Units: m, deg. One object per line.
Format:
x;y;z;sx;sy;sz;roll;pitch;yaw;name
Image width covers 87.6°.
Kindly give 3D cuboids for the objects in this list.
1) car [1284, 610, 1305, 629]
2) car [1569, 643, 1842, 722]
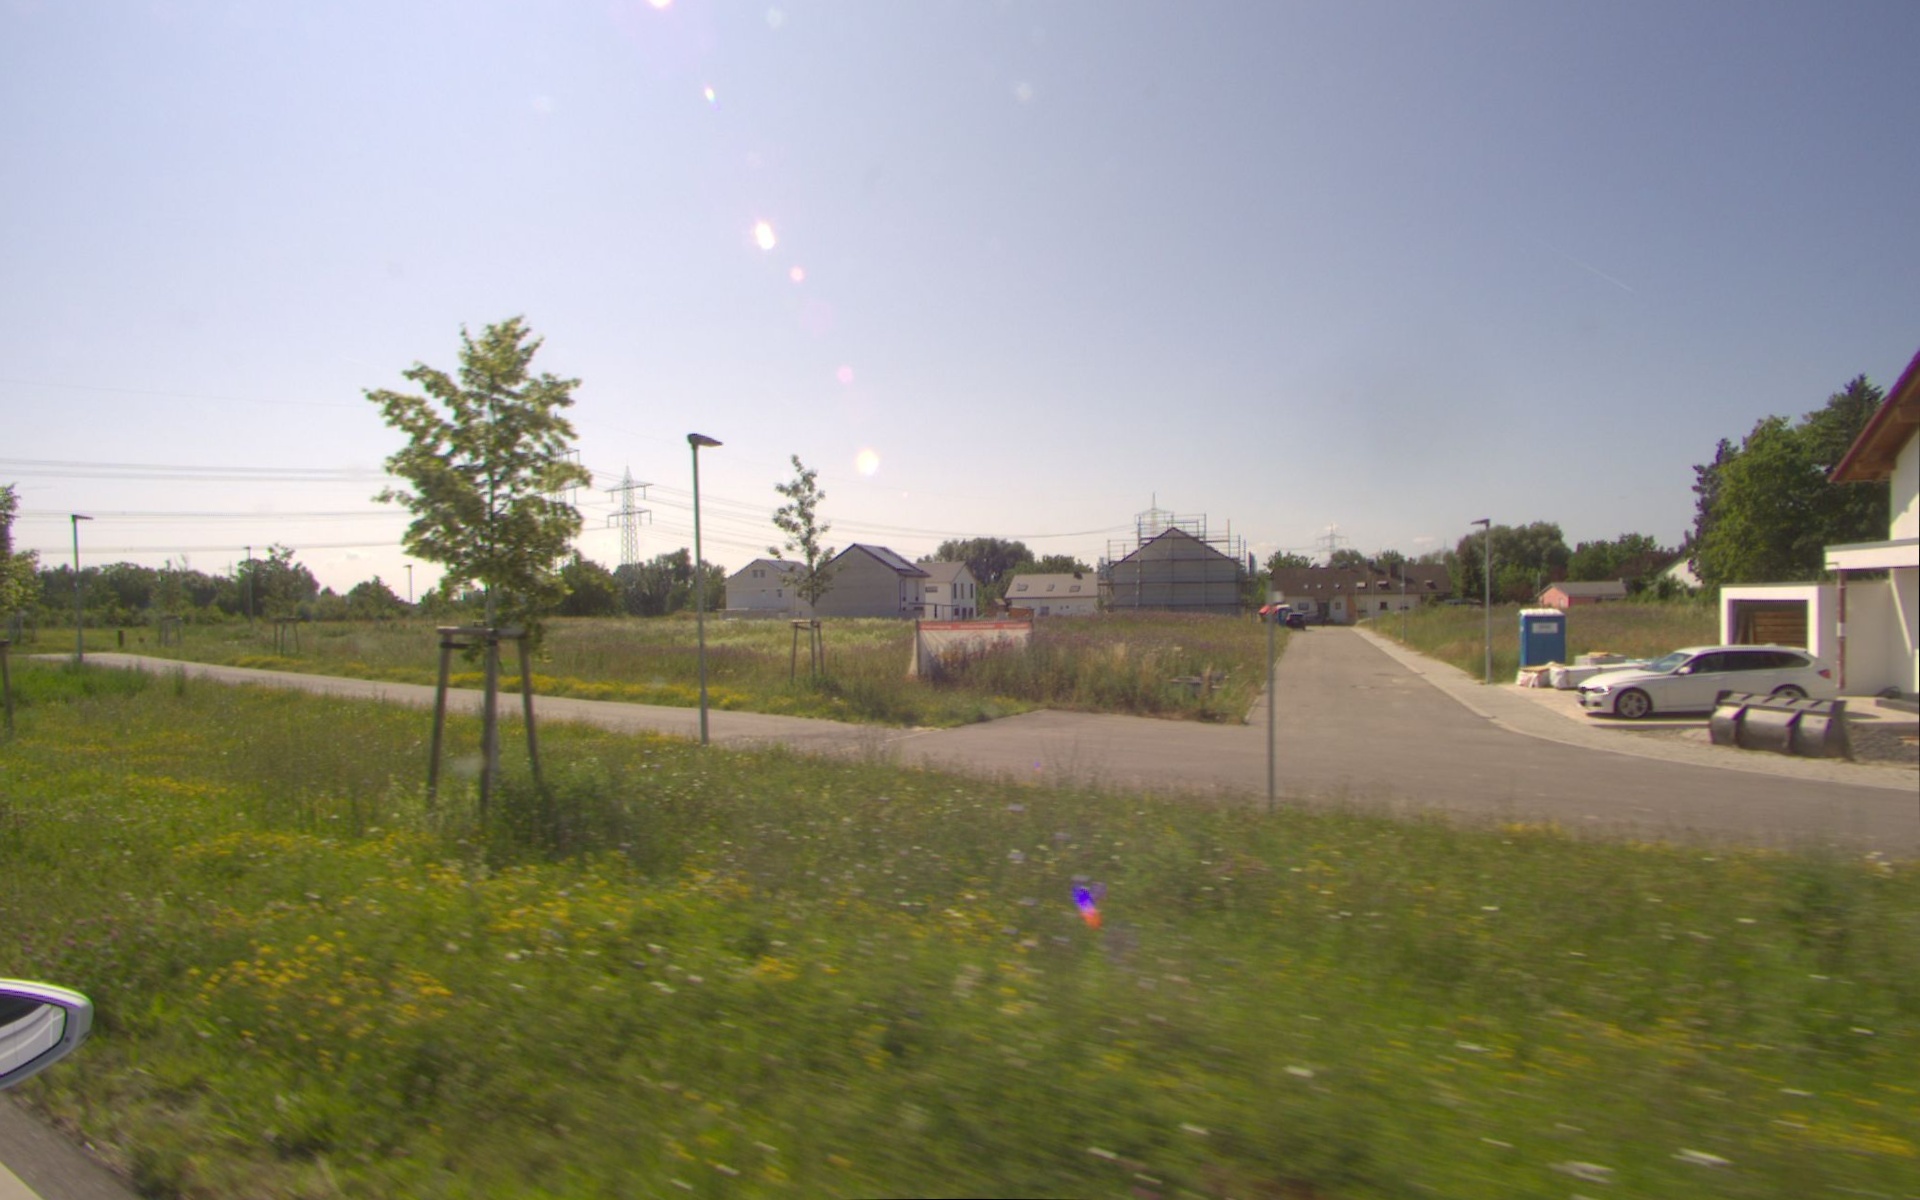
30.572;1.739;91.532;1.711;1.539;3.992;-1;1;17;car
15.837;1.716;21.529;4.407;1.577;1.562;-1;-2;18;car
